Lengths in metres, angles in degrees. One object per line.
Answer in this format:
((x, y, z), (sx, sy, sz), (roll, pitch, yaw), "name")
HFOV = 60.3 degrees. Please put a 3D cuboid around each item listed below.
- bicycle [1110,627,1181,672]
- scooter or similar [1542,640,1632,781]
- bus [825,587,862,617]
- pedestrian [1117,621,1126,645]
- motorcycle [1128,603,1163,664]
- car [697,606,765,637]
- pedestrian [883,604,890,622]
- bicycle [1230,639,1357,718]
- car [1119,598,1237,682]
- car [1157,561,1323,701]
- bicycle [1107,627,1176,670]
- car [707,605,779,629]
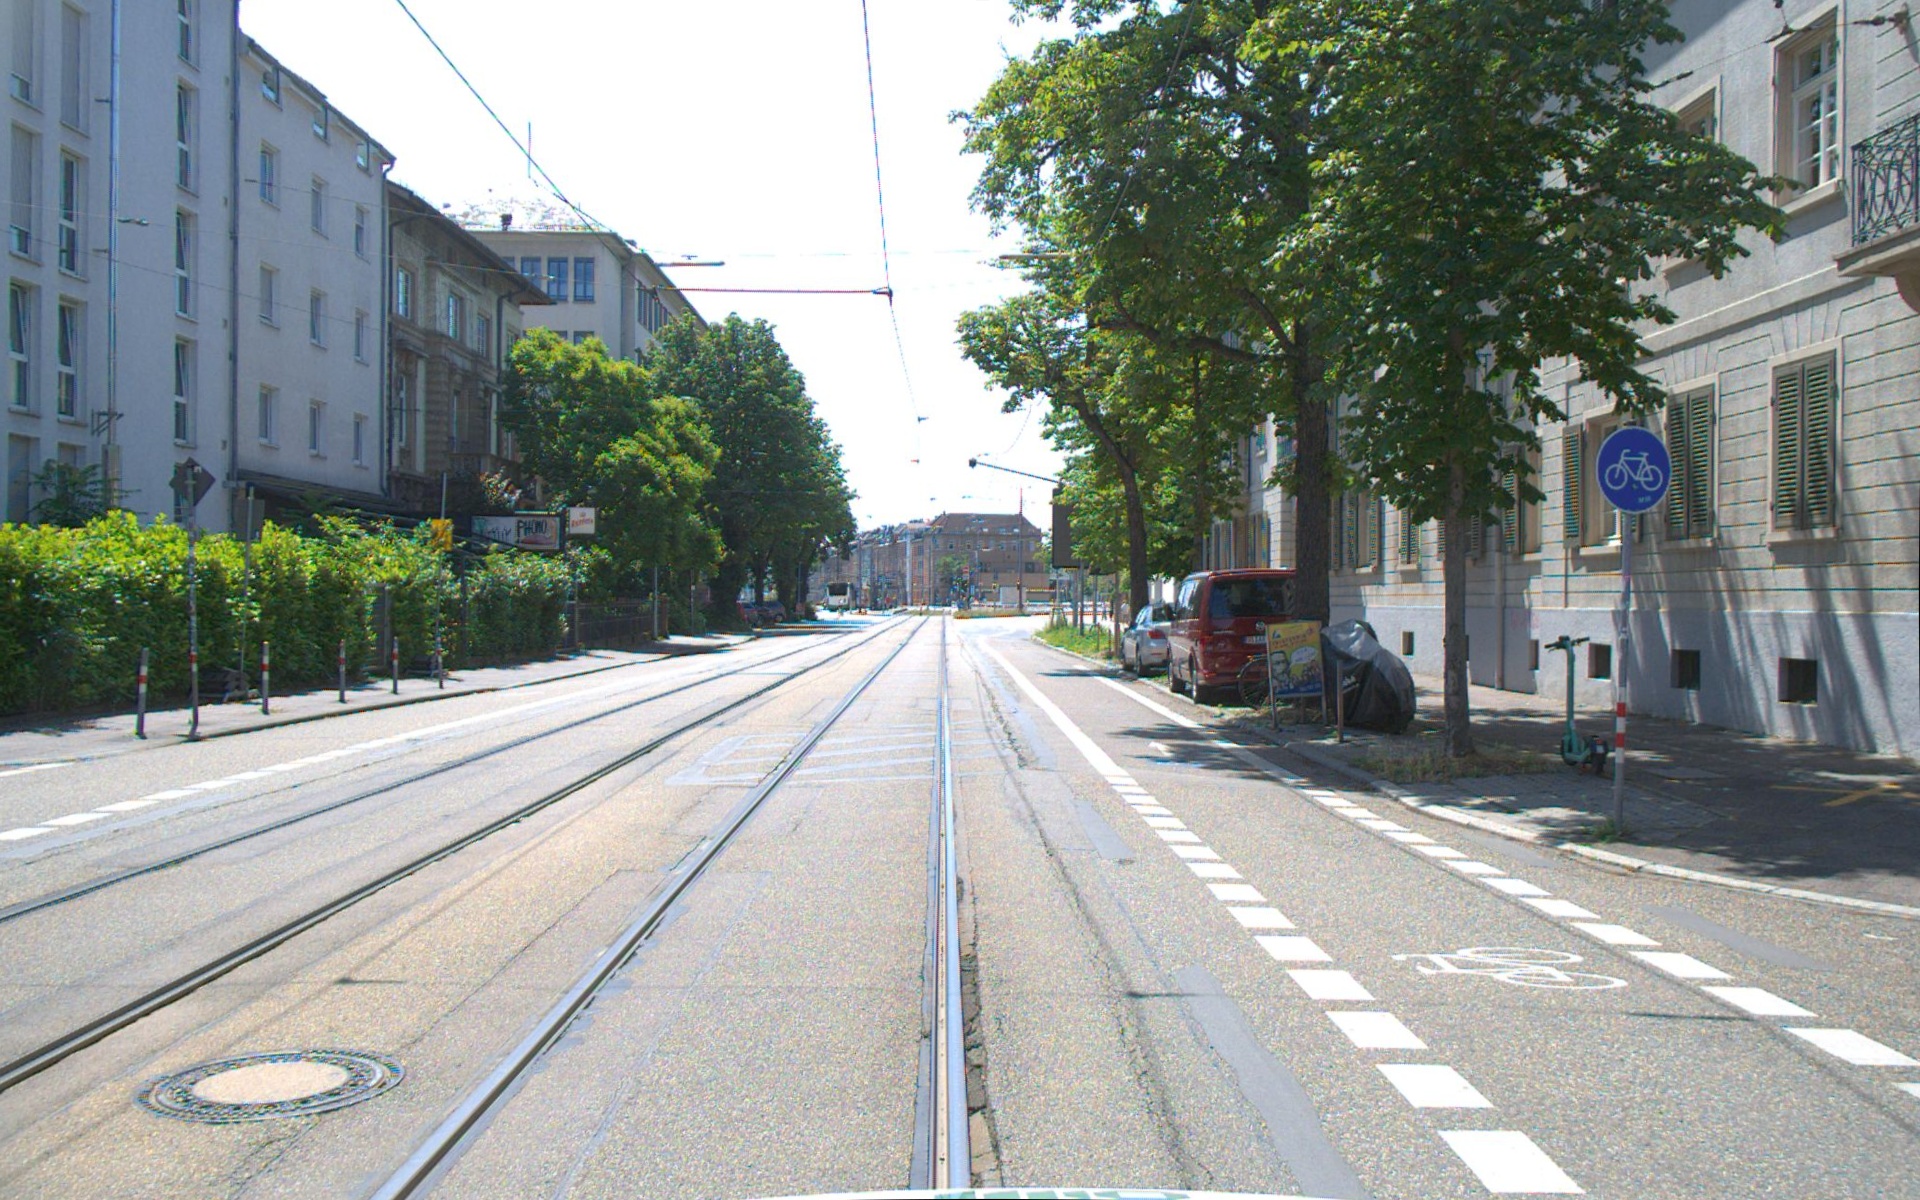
((4.346, 1.154, 38.819), (1.624, 1.033, 0.371), (1, -1, 0), "bicycle")
((5.564, 0.958, 14.725), (0.289, 1.181, 1.252), (0, 0, -2), "scooter or similar")
((-13.110, 0.190, 187.544), (2.948, 3.213, 17.497), (0, 0, 0), "bus")
((11.123, 2.276, 113.809), (0.646, 1.676, 0.625), (0, 0, 5), "pedestrian")
((4.802, 0.843, 42.695), (0.729, 1.532, 2.561), (0, 0, 11), "motorcycle")
((-12.278, 1.158, 88.664), (3.301, 1.542, 1.655), (2, -1, -27), "car")
((-7.919, 1.377, 178.248), (0.660, 1.943, 0.639), (0, 0, -10), "pedestrian")
((4.560, 1.065, 22.610), (1.664, 1.039, 0.364), (0, -1, -7), "bicycle")
((4.480, 0.843, 34.651), (1.821, 1.605, 4.876), (1, -1, 0), "car")
((4.432, 0.479, 26.887), (1.821, 2.049, 4.975), (1, -1, 0), "car")
((4.328, 1.153, 39.472), (1.624, 1.033, 0.371), (0, -2, 0), "bicycle")
((-12.590, 0.965, 96.059), (3.873, 1.398, 1.655), (0, 0, -27), "car")
